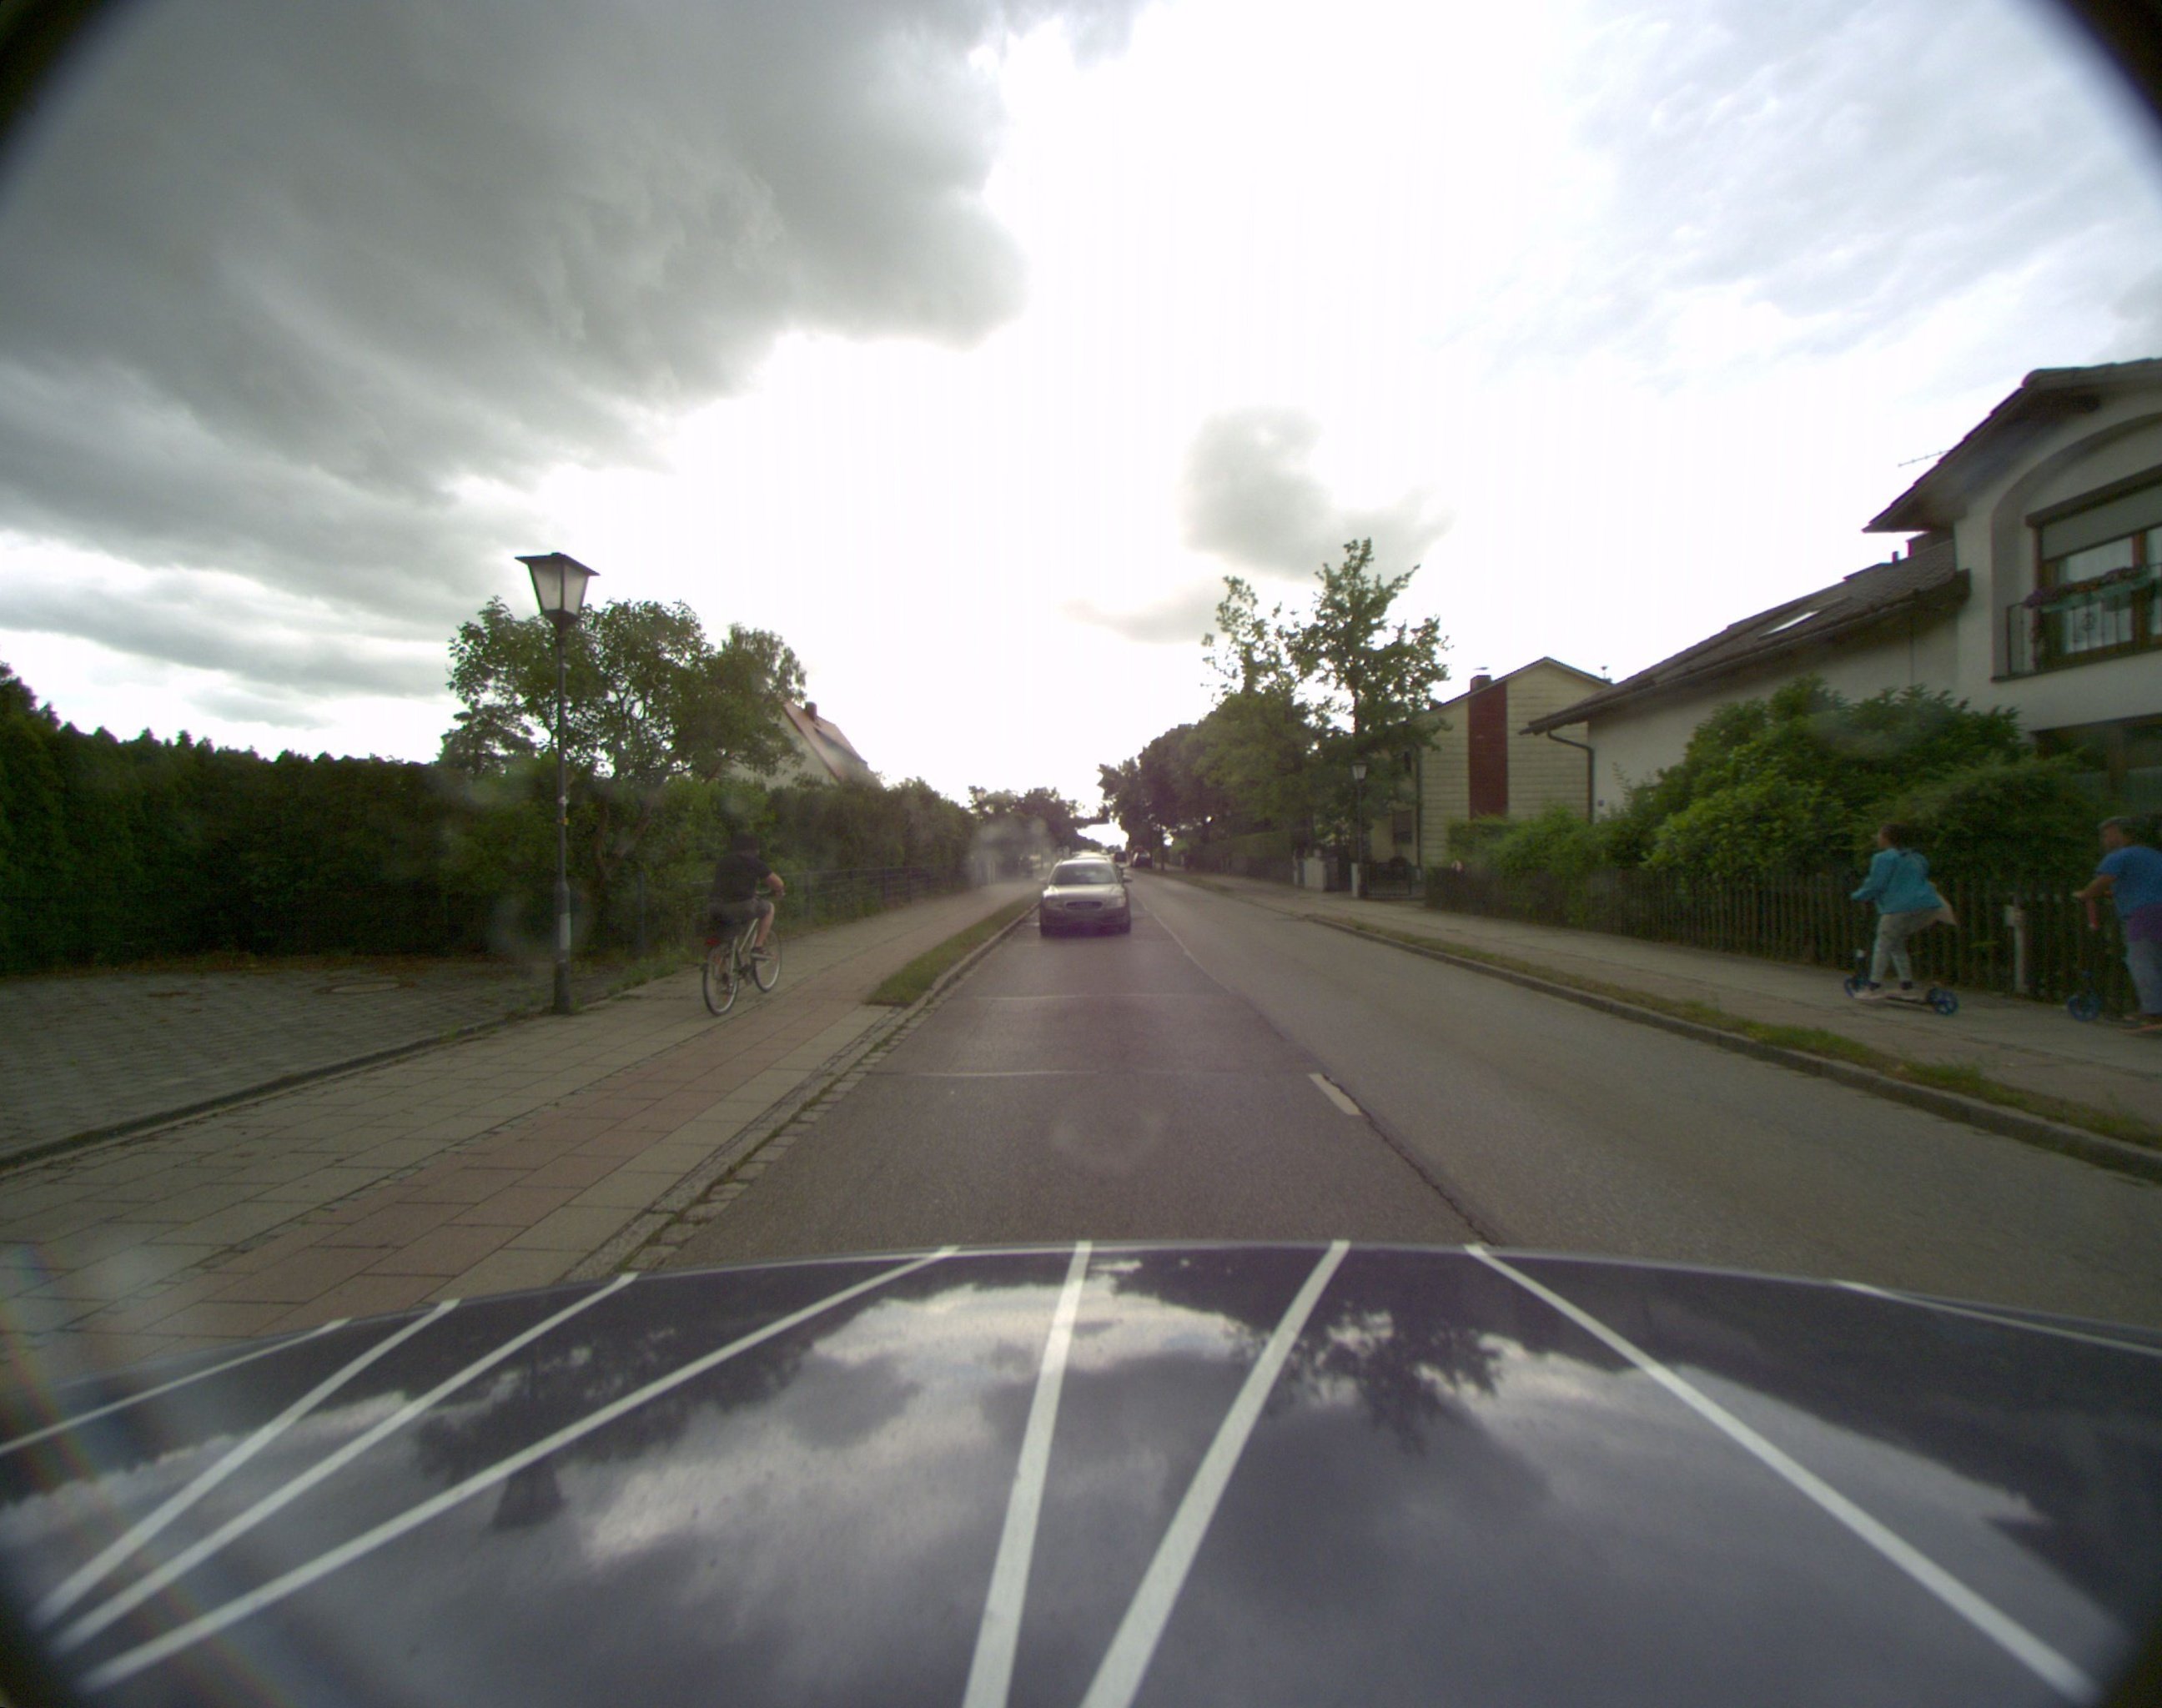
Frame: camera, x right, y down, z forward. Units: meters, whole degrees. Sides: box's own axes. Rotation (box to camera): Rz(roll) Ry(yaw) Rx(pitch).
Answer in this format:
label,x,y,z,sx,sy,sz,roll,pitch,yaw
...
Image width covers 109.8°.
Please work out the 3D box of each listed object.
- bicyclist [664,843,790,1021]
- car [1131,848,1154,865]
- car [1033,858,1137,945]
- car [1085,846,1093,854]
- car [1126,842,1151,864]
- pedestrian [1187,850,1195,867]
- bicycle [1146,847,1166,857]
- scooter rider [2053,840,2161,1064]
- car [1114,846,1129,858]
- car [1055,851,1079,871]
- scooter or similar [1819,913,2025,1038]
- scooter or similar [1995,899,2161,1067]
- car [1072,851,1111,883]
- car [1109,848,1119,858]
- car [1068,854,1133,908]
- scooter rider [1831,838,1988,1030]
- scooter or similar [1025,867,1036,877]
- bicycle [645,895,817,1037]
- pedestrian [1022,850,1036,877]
label,x,y,z,sx,sy,sz,roll,pitch,yaw
bicyclist,-3.412,0.718,7.406,0.738,1.623,0.891,-1,1,4
car,6.376,0.239,79.340,1.999,1.739,3.999,-1,0,-2
car,0.094,0.858,15.719,1.809,1.476,4.270,-1,0,1
car,1.985,-0.992,193.507,1.998,2.002,4.000,-1,0,1
car,6.402,-0.110,85.179,2.246,2.258,4.469,-1,0,-2
pedestrian,9.315,0.388,64.354,0.631,1.429,0.563,-1,1,1
bicycle,11.506,-0.303,116.897,2.911,1.541,0.941,-1,1,22
scooter rider,7.425,0.642,5.249,0.664,1.464,0.581,-1,1,2
car,6.018,-0.300,113.245,1.969,1.842,4.948,-1,0,2
car,-1.161,0.559,62.876,1.866,1.518,4.122,-1,0,0
scooter or similar,6.808,0.952,6.217,0.522,0.845,1.061,-1,0,2
scooter or similar,7.434,0.876,5.321,0.663,1.031,1.178,-1,0,2
car,0.521,0.636,39.422,1.866,1.518,4.122,-1,0,1
car,6.199,-0.178,142.564,1.904,1.873,5.010,-1,0,2
car,0.600,0.788,24.750,1.866,1.518,4.943,-1,0,1
scooter rider,6.788,0.624,6.258,0.504,1.481,0.716,-1,1,2
scooter or similar,-2.992,1.077,44.821,0.618,0.553,0.742,-1,0,-3
bicycle,-3.389,1.035,7.591,0.766,1.136,1.845,-1,0,3
pedestrian,-3.121,0.585,45.481,0.792,1.592,0.671,-1,1,-2
